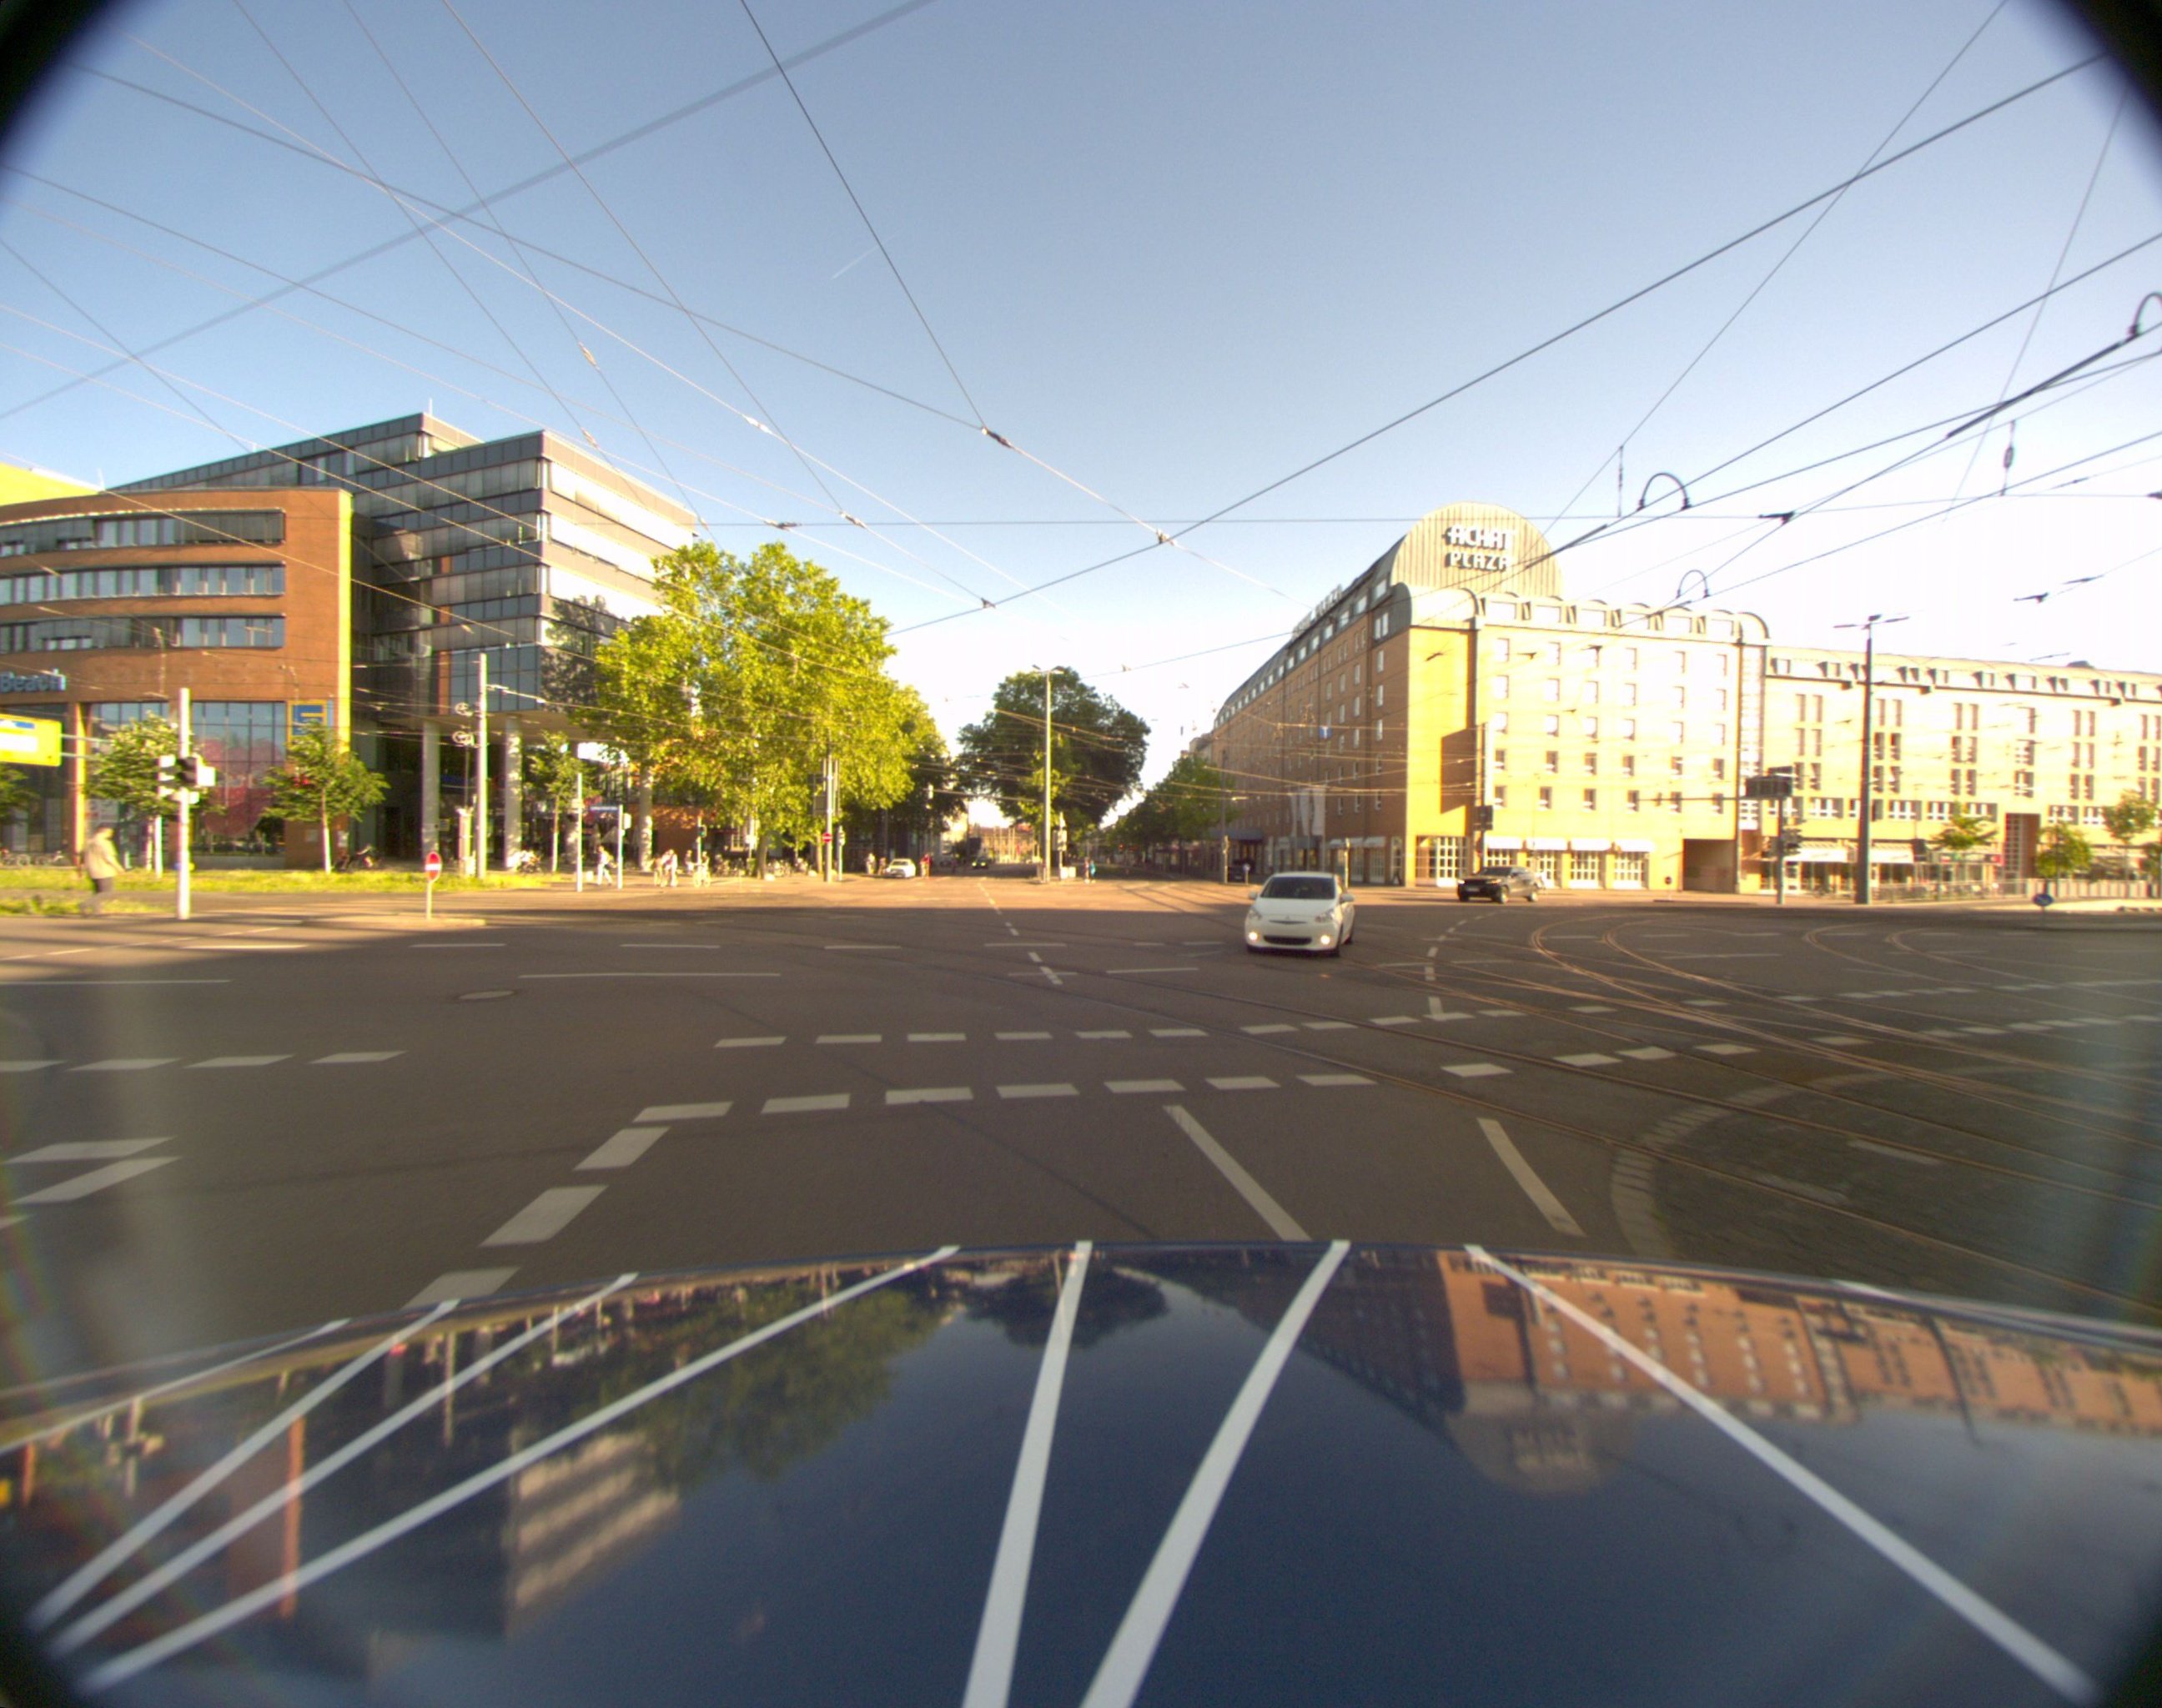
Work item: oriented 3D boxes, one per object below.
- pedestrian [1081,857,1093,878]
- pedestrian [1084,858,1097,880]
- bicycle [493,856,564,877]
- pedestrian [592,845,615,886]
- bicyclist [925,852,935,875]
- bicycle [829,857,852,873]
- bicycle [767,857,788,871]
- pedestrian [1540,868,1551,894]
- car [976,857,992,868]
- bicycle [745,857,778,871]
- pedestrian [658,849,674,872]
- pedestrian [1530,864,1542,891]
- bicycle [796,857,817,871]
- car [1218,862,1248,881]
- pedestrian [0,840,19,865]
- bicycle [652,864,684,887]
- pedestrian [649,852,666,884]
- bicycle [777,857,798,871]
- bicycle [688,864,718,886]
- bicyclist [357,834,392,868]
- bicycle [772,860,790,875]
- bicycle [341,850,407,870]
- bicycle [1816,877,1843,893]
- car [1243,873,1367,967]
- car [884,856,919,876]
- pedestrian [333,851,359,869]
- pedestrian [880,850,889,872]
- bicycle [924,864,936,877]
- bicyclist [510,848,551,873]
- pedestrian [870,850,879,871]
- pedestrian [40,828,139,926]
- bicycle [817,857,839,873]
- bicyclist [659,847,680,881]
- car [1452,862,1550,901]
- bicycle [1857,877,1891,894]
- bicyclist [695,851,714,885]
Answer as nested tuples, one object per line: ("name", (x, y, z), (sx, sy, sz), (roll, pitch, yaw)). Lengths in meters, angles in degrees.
("pedestrian", (0.433, 0.982, 54.636), (0.743, 1.530, 0.651), (0, -1, -17))
("pedestrian", (0.693, 1.083, 53.841), (0.743, 1.530, 0.676), (0, -1, -17))
("bicycle", (-31.430, 0.702, 43.257), (3.179, 1.126, 1.043), (1, 0, -5))
("pedestrian", (-21.220, 0.518, 33.759), (0.514, 1.826, 0.704), (0, -1, 26))
("bicyclist", (-11.139, 0.697, 56.050), (0.637, 1.606, 0.928), (1, 0, -5))
("bicycle", (-20.013, 0.871, 63.179), (0.879, 1.228, 2.924), (1, 0, -36))
("bicycle", (-24.845, 0.828, 62.159), (0.879, 1.085, 2.924), (1, 0, -36))
("pedestrian", (32.446, 1.882, 53.043), (0.577, 1.764, 0.406), (2, 3, 28))
("car", (-14.373, 1.252, 112.527), (1.900, 1.525, 3.999), (0, 1, 0))
("bicycle", (-25.654, 0.802, 60.944), (2.924, 1.085, 0.880), (2, 0, 32))
("pedestrian", (-28.390, 0.445, 51.932), (0.562, 1.518, 0.779), (1, 1, 18))
("pedestrian", (31.531, 1.596, 52.662), (0.734, 1.823, 0.496), (-2, 3, -44))
("bicycle", (-23.023, 0.864, 63.692), (0.879, 1.085, 2.924), (1, 0, -36))
("car", (12.794, 1.461, 64.211), (1.795, 1.457, 4.311), (2, 1, 2))
("pedestrian", (-67.464, -0.088, 47.735), (0.621, 1.560, 0.709), (1, 1, 15))
("bicycle", (-18.812, 0.964, 34.650), (0.516, 1.015, 1.633), (1, 1, 3))
("pedestrian", (-21.172, 0.674, 37.985), (0.489, 1.573, 0.659), (1, 0, -5))
("bicycle", (-24.422, 0.847, 63.122), (0.879, 1.085, 2.924), (1, 0, -36))
("bicycle", (-18.944, 1.058, 38.116), (0.516, 1.015, 1.859), (0, 1, 2))
("bicyclist", (-40.875, -0.186, 43.975), (1.229, 1.920, 0.835), (1, 0, 1))
("bicycle", (-20.240, 0.912, 51.250), (0.390, 0.980, 1.711), (1, 1, 5))
("bicycle", (-40.882, 0.360, 43.957), (3.048, 1.107, 0.835), (1, 0, 1))
("bicycle", (56.140, 2.314, 57.030), (0.552, 1.142, 1.777), (0, 2, 12))
("car", (4.491, 1.153, 14.816), (1.637, 1.458, 4.194), (1, 0, 26))
("car", (-13.695, 0.921, 58.166), (1.999, 1.477, 3.999), (0, -1, -5))
("pedestrian", (-44.397, 0.344, 45.893), (0.812, 1.051, 0.787), (1, 1, 14))
("pedestrian", (-16.063, 0.595, 62.154), (0.643, 1.766, 0.617), (1, 1, -9))
("bicycle", (-11.150, 1.239, 56.041), (0.652, 0.905, 1.858), (1, 0, -5))
("bicyclist", (-31.344, 0.359, 43.274), (1.563, 1.373, 1.043), (1, 0, -5))
("pedestrian", (-16.819, 0.531, 61.924), (0.643, 1.766, 0.617), (1, 1, -9))
("pedestrian", (-19.043, 0.420, 14.614), (0.677, 1.813, 0.885), (0, 2, -4))
("bicycle", (-20.841, 0.863, 62.543), (0.879, 1.228, 2.924), (1, 0, -36))
("bicyclist", (-18.783, 0.450, 34.689), (0.569, 1.494, 0.745), (0, 1, 3))
("car", (18.807, 1.214, 33.966), (4.363, 1.652, 1.952), (1, -1, -31))
("bicycle", (58.927, 2.301, 56.495), (0.553, 1.135, 1.774), (0, 2, -6))
("bicyclist", (-18.932, 0.704, 38.193), (0.569, 1.685, 0.745), (0, 1, 2))
